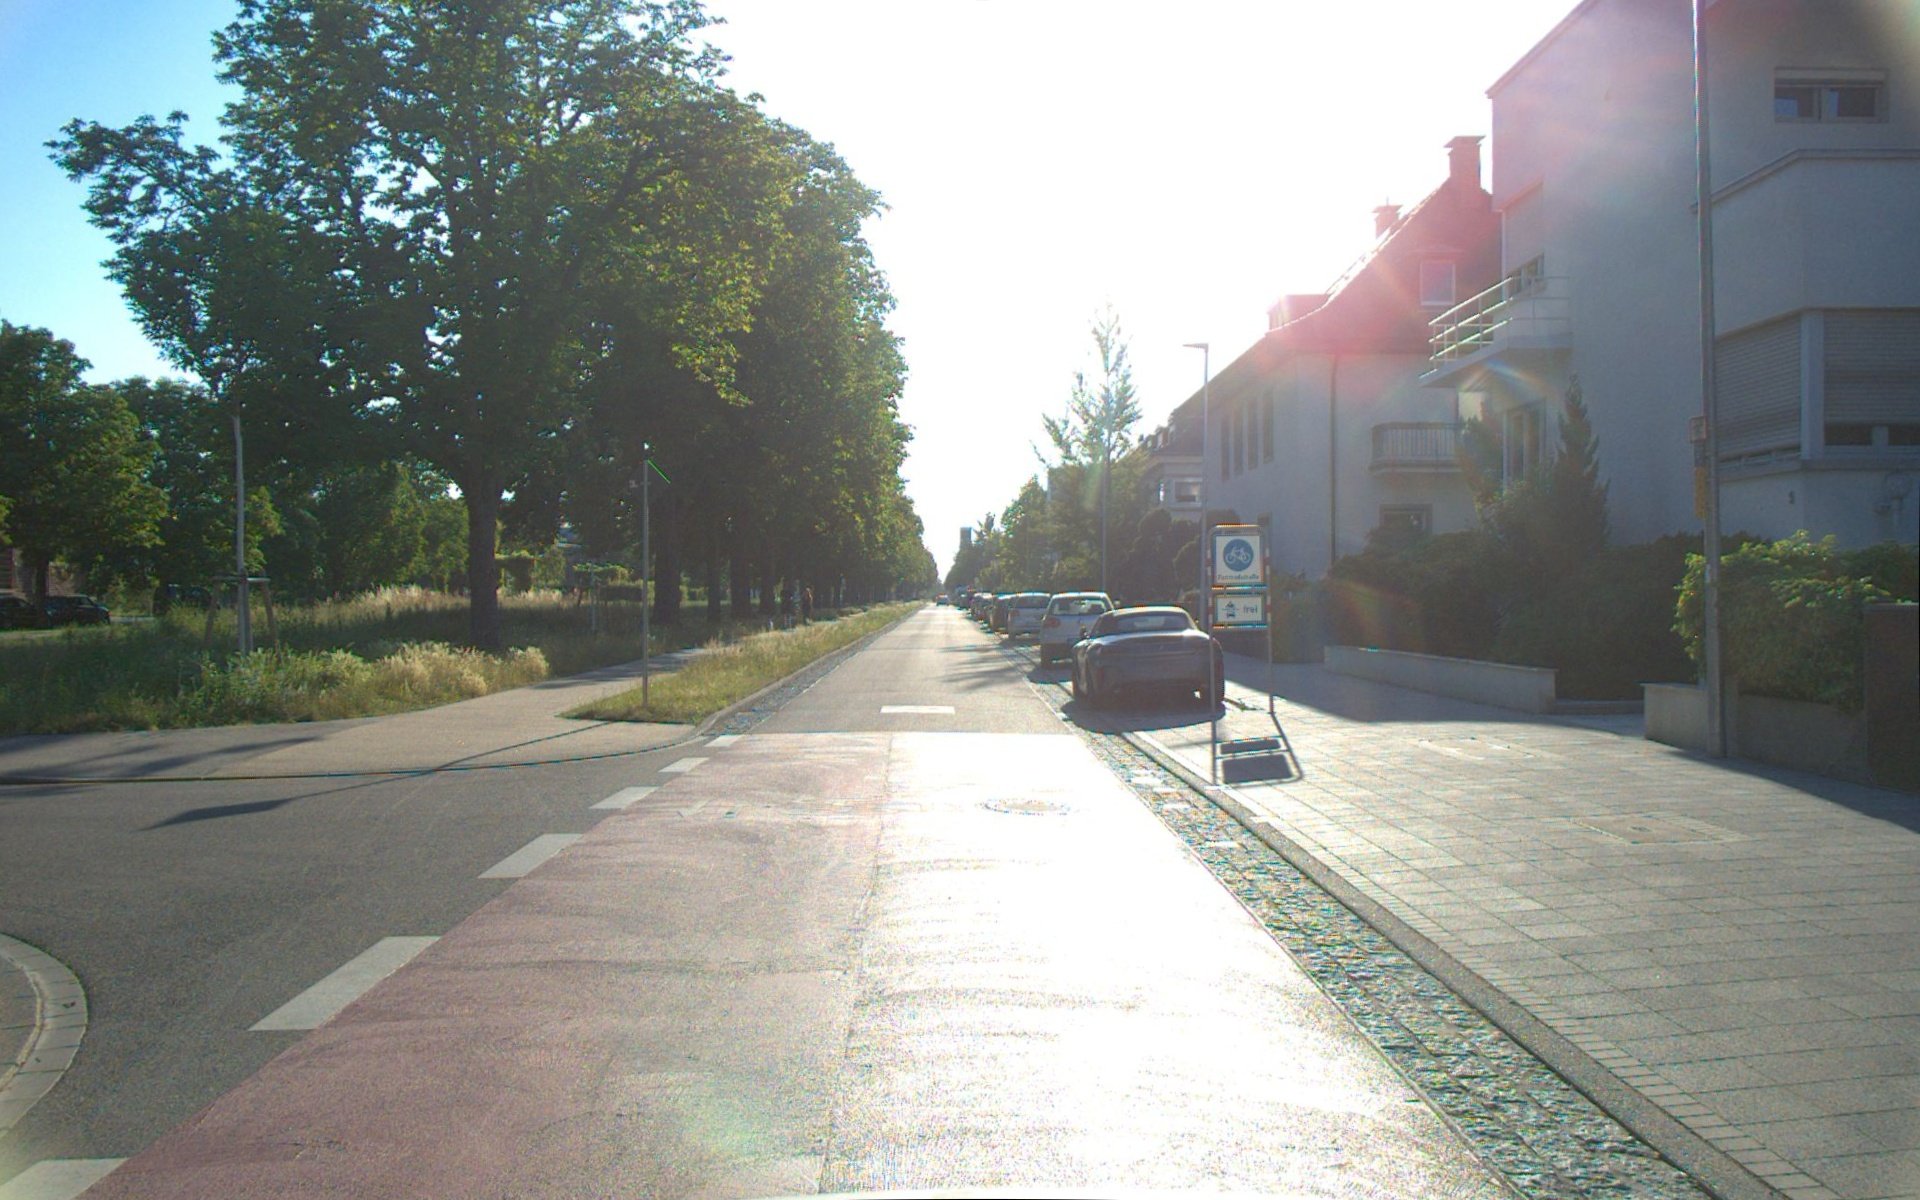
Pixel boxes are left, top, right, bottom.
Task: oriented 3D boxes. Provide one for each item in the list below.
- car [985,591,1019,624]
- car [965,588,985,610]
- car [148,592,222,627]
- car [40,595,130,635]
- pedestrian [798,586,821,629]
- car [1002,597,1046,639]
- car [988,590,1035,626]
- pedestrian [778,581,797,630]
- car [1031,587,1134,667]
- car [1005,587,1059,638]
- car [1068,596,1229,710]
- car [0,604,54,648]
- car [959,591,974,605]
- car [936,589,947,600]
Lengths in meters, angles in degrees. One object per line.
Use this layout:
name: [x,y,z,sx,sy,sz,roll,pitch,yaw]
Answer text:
car: [2.039,0.363,81.076,1.560,1.536,3.591,-1,0,0]
car: [1.126,-0.093,122.774,1.467,1.594,3.267,-1,0,0]
car: [-37.451,0.426,79.993,1.658,1.625,4.220,0,0,-1]
car: [-37.092,0.593,70.213,1.658,1.625,4.220,0,0,-1]
pedestrian: [-5.813,0.283,64.028,0.767,1.643,0.952,0,0,3]
car: [2.511,0.688,64.628,1.623,1.520,3.717,-2,0,3]
car: [2.187,0.346,71.393,1.702,1.474,4.195,-2,0,-2]
pedestrian: [-6.651,0.210,63.853,0.611,1.863,0.886,0,0,3]
car: [2.531,0.531,35.084,1.709,1.499,3.921,-3,0,-2]
car: [2.351,0.385,54.968,1.594,1.531,3.633,-2,1,0]
car: [2.588,0.681,23.629,1.738,1.310,4.272,-3,1,0]
car: [-37.035,0.977,64.016,1.658,1.625,4.220,0,0,-1]
car: [0.768,-0.198,184.800,1.618,1.568,3.266,1,0,0]
car: [-2.691,-0.762,243.617,1.618,1.568,3.266,1,0,-1]
